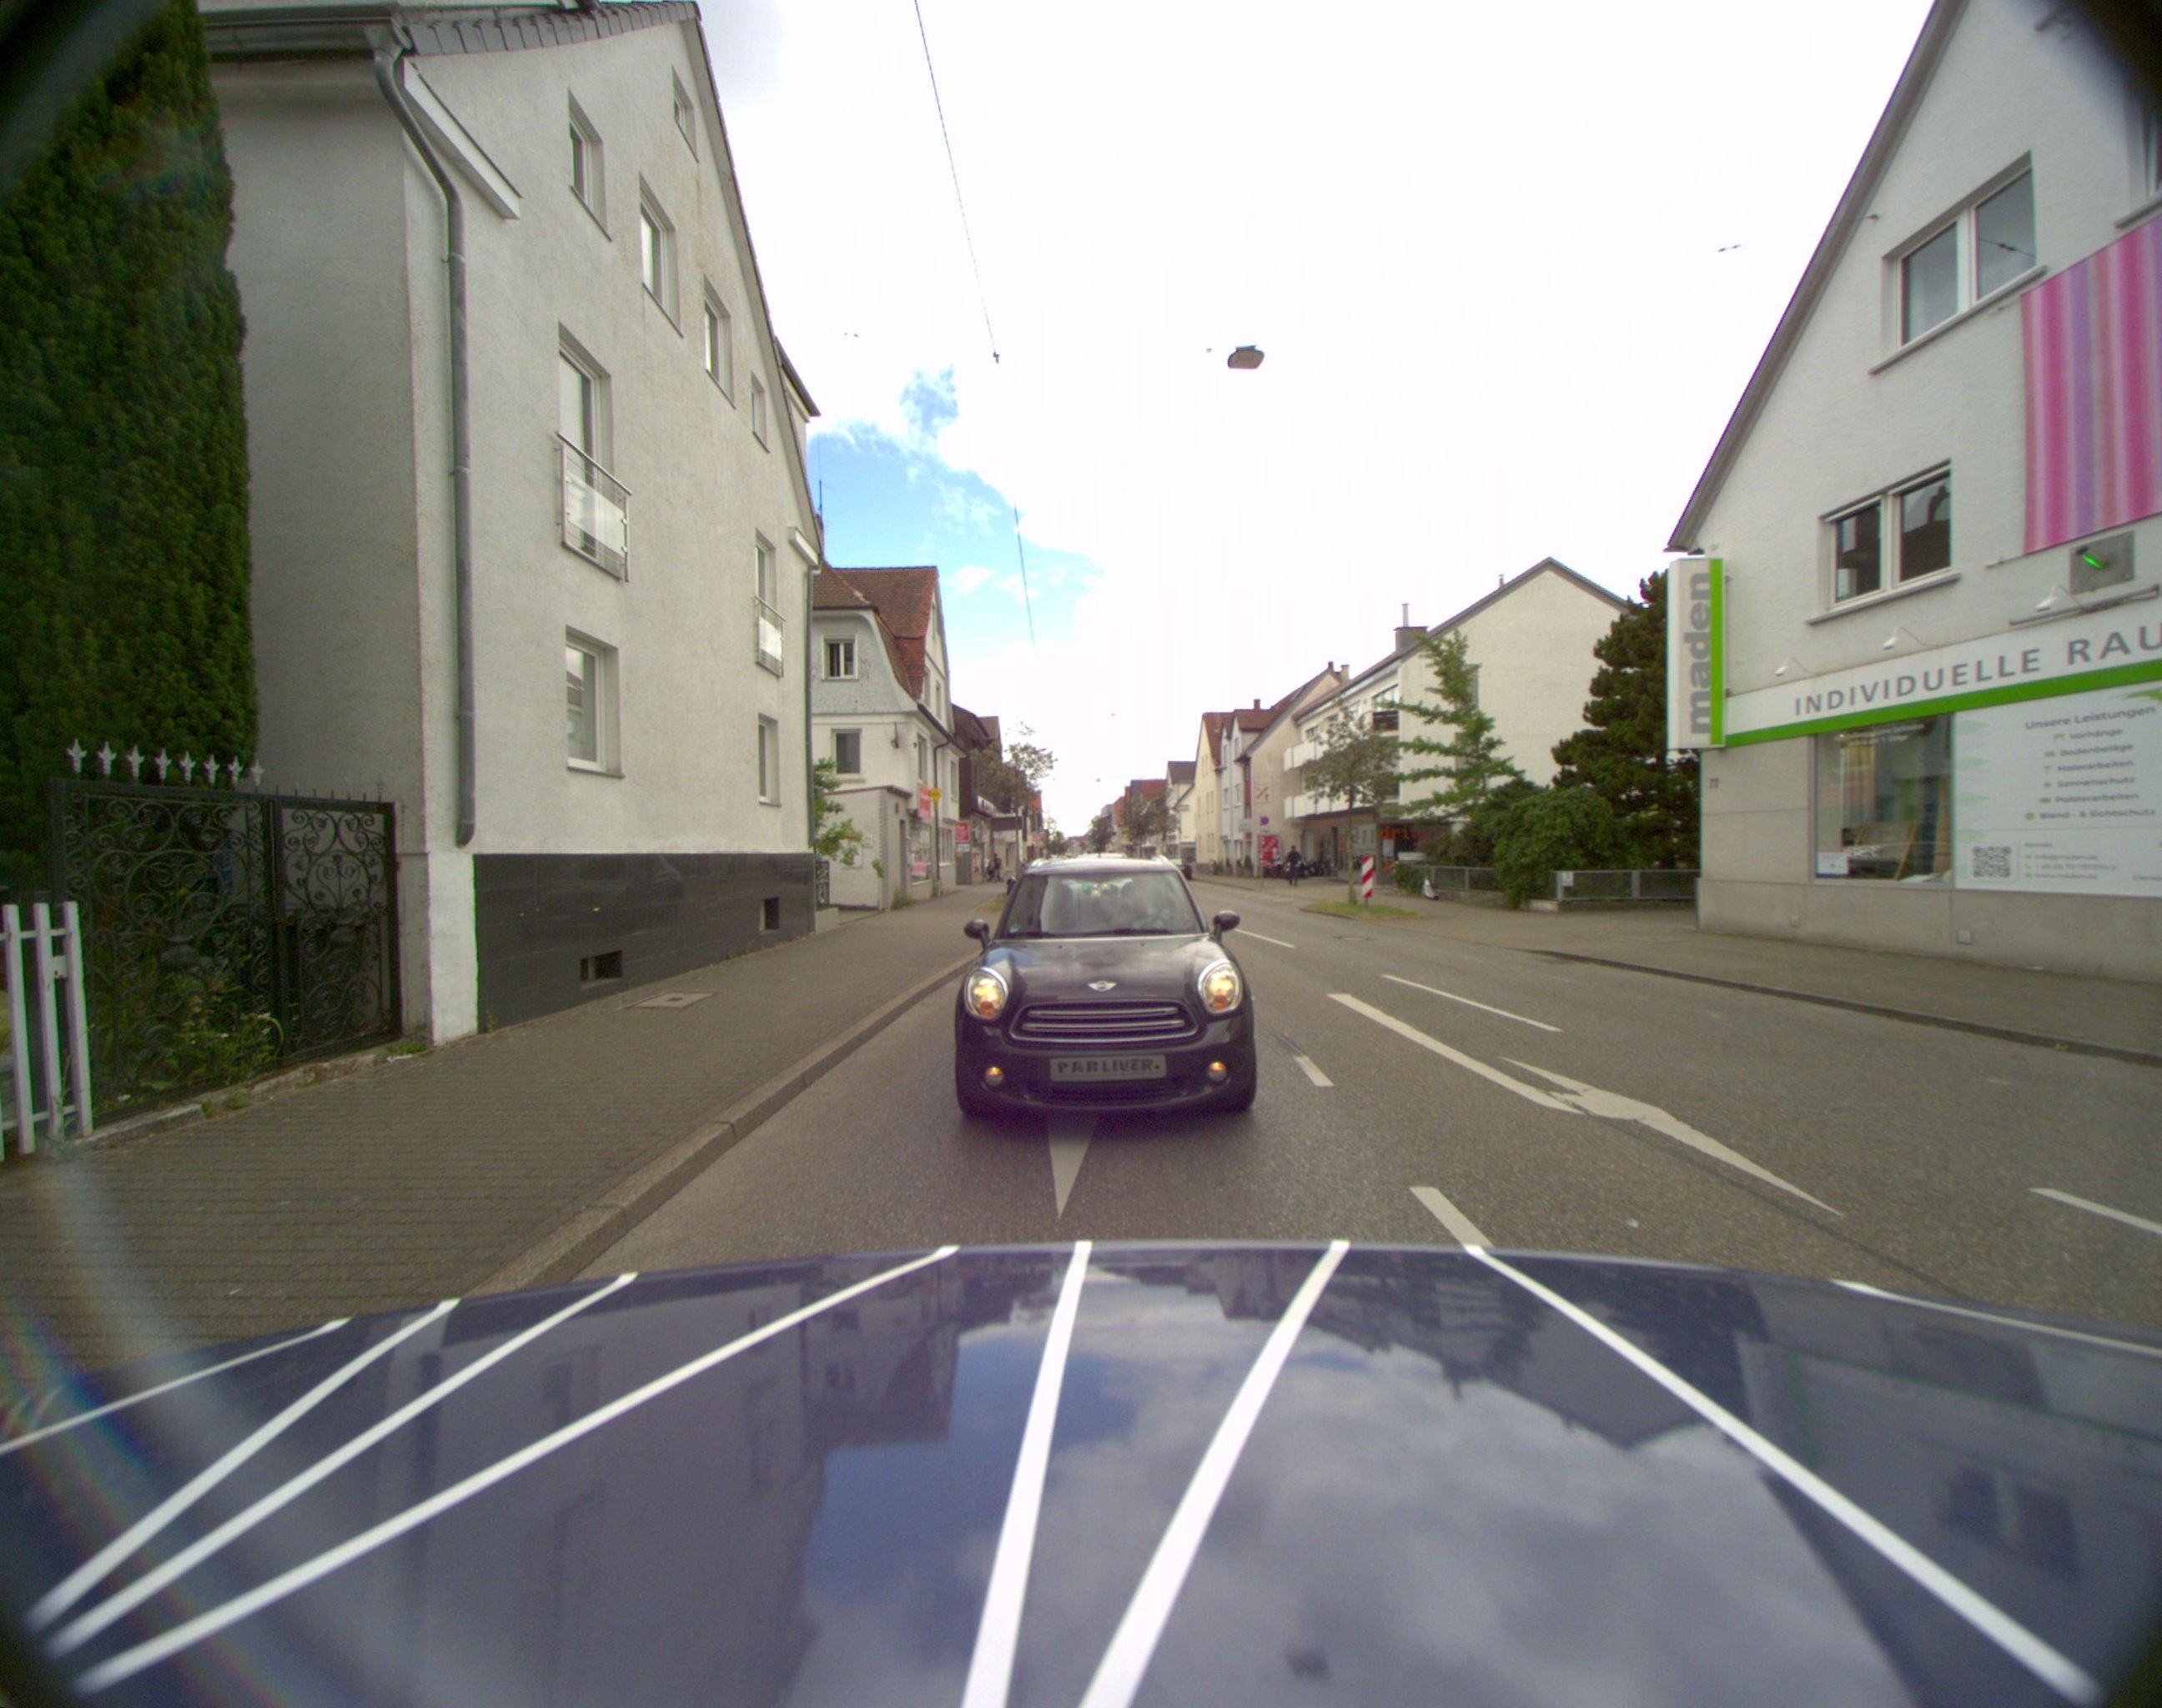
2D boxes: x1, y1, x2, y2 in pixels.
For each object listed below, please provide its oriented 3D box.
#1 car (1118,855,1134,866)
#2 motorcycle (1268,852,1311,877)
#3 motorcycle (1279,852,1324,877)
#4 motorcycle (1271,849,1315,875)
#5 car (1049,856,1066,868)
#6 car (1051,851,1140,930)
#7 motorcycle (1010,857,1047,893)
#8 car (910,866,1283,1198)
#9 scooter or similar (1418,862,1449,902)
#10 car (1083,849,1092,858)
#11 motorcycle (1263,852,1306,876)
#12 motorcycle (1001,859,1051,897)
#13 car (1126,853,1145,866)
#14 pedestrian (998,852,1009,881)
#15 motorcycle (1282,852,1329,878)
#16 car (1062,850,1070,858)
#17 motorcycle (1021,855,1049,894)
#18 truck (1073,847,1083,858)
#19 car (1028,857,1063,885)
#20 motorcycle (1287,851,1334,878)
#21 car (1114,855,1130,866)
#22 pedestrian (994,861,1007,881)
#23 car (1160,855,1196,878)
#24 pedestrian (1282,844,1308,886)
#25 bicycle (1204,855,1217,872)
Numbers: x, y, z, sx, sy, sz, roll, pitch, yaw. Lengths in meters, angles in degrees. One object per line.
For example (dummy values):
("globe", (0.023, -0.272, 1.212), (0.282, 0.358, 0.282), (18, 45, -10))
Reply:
("car", (5.732, 0.831, 97.083), (1.716, 1.389, 3.899), (-2, 0, -2))
("motorcycle", (11.797, 0.569, 43.056), (2.231, 1.258, 0.613), (-4, 1, -2))
("motorcycle", (12.016, 0.571, 41.465), (2.231, 1.258, 0.613), (-4, 1, -2))
("motorcycle", (11.798, 0.439, 42.329), (2.231, 1.258, 0.699), (-4, 1, -2))
("car", (-2.598, 0.880, 85.437), (1.794, 1.356, 3.948), (1, 0, 0))
("car", (0.318, 0.765, 18.600), (1.855, 1.615, 4.736), (-2, 0, 0))
("motorcycle", (-2.245, 0.871, 32.846), (0.648, 1.432, 2.472), (-2, 1, 19))
("car", (0.006, 0.936, 6.235), (1.855, 1.527, 4.735), (-2, 0, -2))
("scooter or similar", (10.371, 0.805, 22.350), (0.340, 1.105, 1.180), (-2, 1, 0))
("car", (1.412, -0.055, 170.661), (1.855, 1.932, 4.490), (1, 0, -2))
("motorcycle", (11.745, 0.566, 43.817), (2.231, 1.258, 0.613), (-4, 1, -2))
("motorcycle", (-2.132, 0.902, 29.263), (0.777, 1.373, 2.237), (-2, 1, -37))
("car", (6.122, 0.595, 86.247), (1.716, 1.389, 3.899), (-2, 0, -2))
("pedestrian", (-4.675, 0.729, 45.786), (0.644, 1.730, 0.742), (0, 1, -6))
("motorcycle", (12.024, 0.575, 40.730), (2.231, 1.258, 0.613), (-4, 1, -2))
("car", (-4.195, -0.063, 210.106), (2.059, 2.002, 4.186), (-2, 0, -1))
("motorcycle", (-1.889, 0.834, 31.684), (0.672, 1.516, 2.599), (-2, 1, 6))
("truck", (-0.845, -0.533, 219.199), (2.800, 3.020, 8.250), (-2, 0, 0))
("car", (-1.988, 0.925, 43.634), (1.830, 1.400, 4.564), (-2, 0, -1))
("motorcycle", (12.042, 0.537, 39.876), (2.231, 1.258, 0.613), (-4, 1, -2))
("car", (5.504, 0.863, 102.069), (1.716, 1.389, 3.899), (-2, 0, -2))
("pedestrian", (-4.938, 1.023, 46.744), (0.742, 1.204, 0.644), (0, 1, -1))
("car", (6.457, 0.825, 50.870), (1.792, 1.409, 4.340), (0, 0, -1))
("pedestrian", (9.645, 0.491, 34.206), (0.753, 1.838, 1.019), (-5, 1, 0))
("bicycle", (9.427, 0.710, 55.390), (0.515, 1.189, 2.023), (-2, 0, -1))
